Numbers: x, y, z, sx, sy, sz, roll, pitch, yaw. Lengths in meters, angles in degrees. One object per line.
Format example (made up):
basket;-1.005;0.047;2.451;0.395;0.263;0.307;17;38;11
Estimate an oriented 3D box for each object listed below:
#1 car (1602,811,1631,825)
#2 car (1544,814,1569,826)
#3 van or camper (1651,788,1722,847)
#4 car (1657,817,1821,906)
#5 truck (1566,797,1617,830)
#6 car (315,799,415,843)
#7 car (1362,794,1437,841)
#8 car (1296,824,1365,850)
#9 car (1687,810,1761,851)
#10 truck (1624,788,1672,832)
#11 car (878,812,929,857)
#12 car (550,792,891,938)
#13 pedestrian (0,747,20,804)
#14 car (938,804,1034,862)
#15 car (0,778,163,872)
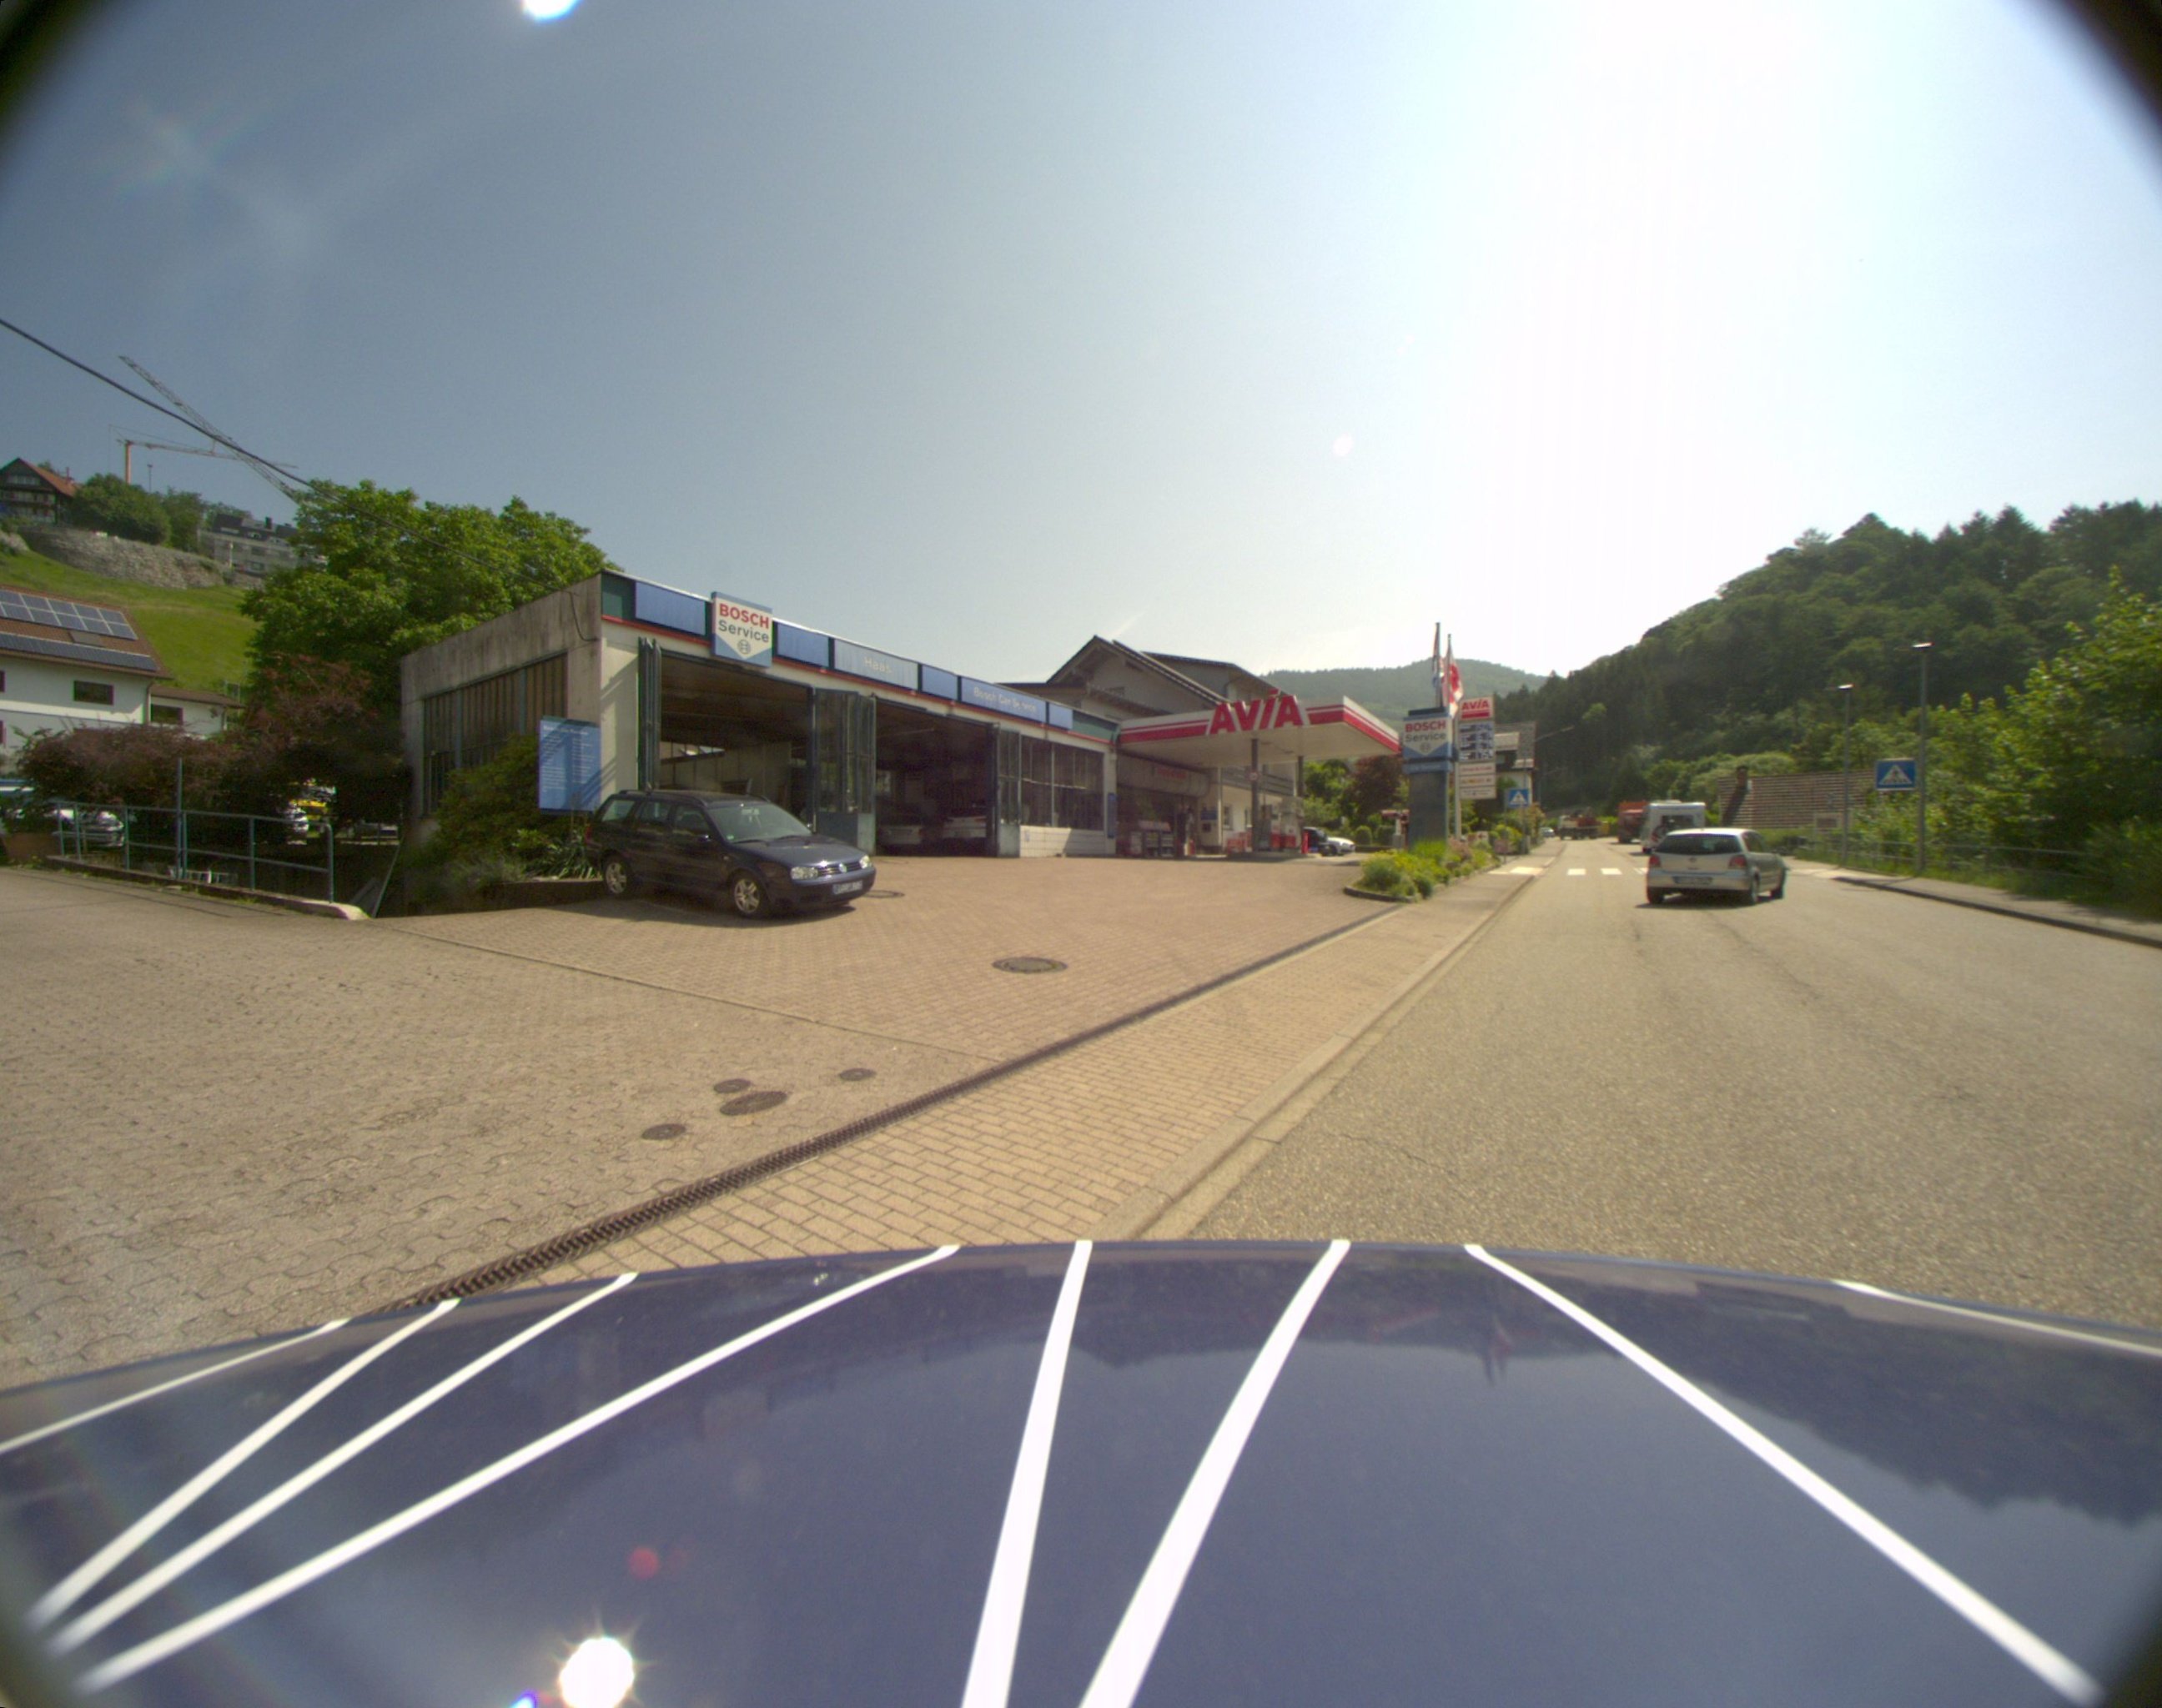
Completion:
car;64.754;-4.364;91.958;1.778;1.657;3.579;3;4;16
car;63.995;-4.599;102.305;1.784;1.566;3.601;3;4;17
van or camper;33.185;-1.972;41.859;2.359;2.937;8.066;2;3;34
car;13.129;0.083;15.103;3.763;1.474;1.591;-4;2;-35
truck;59.027;-4.701;88.069;2.647;3.563;7.779;1;3;17
car;-28.667;-1.355;30.407;3.899;1.547;1.682;4;5;28
car;11.791;-1.345;28.005;1.692;1.569;3.918;5;5;35
car;12.816;-0.903;39.102;3.073;1.139;1.337;5;5;33
car;24.137;-0.916;28.635;1.605;1.398;3.834;3;4;34
truck;48.556;-3.758;65.278;2.644;3.563;8.207;3;4;33
car;-5.975;-0.599;25.734;1.549;1.398;3.475;1;0;-12
car;-4.913;0.005;10.335;4.319;1.537;1.802;4;6;25
pedestrian;-46.380;-3.340;32.426;0.826;2.419;0.827;2;5;1
car;-3.004;-0.760;24.731;1.602;1.679;3.933;3;4;17
car;-21.196;-0.690;15.549;4.863;1.636;2.003;4;5;27
